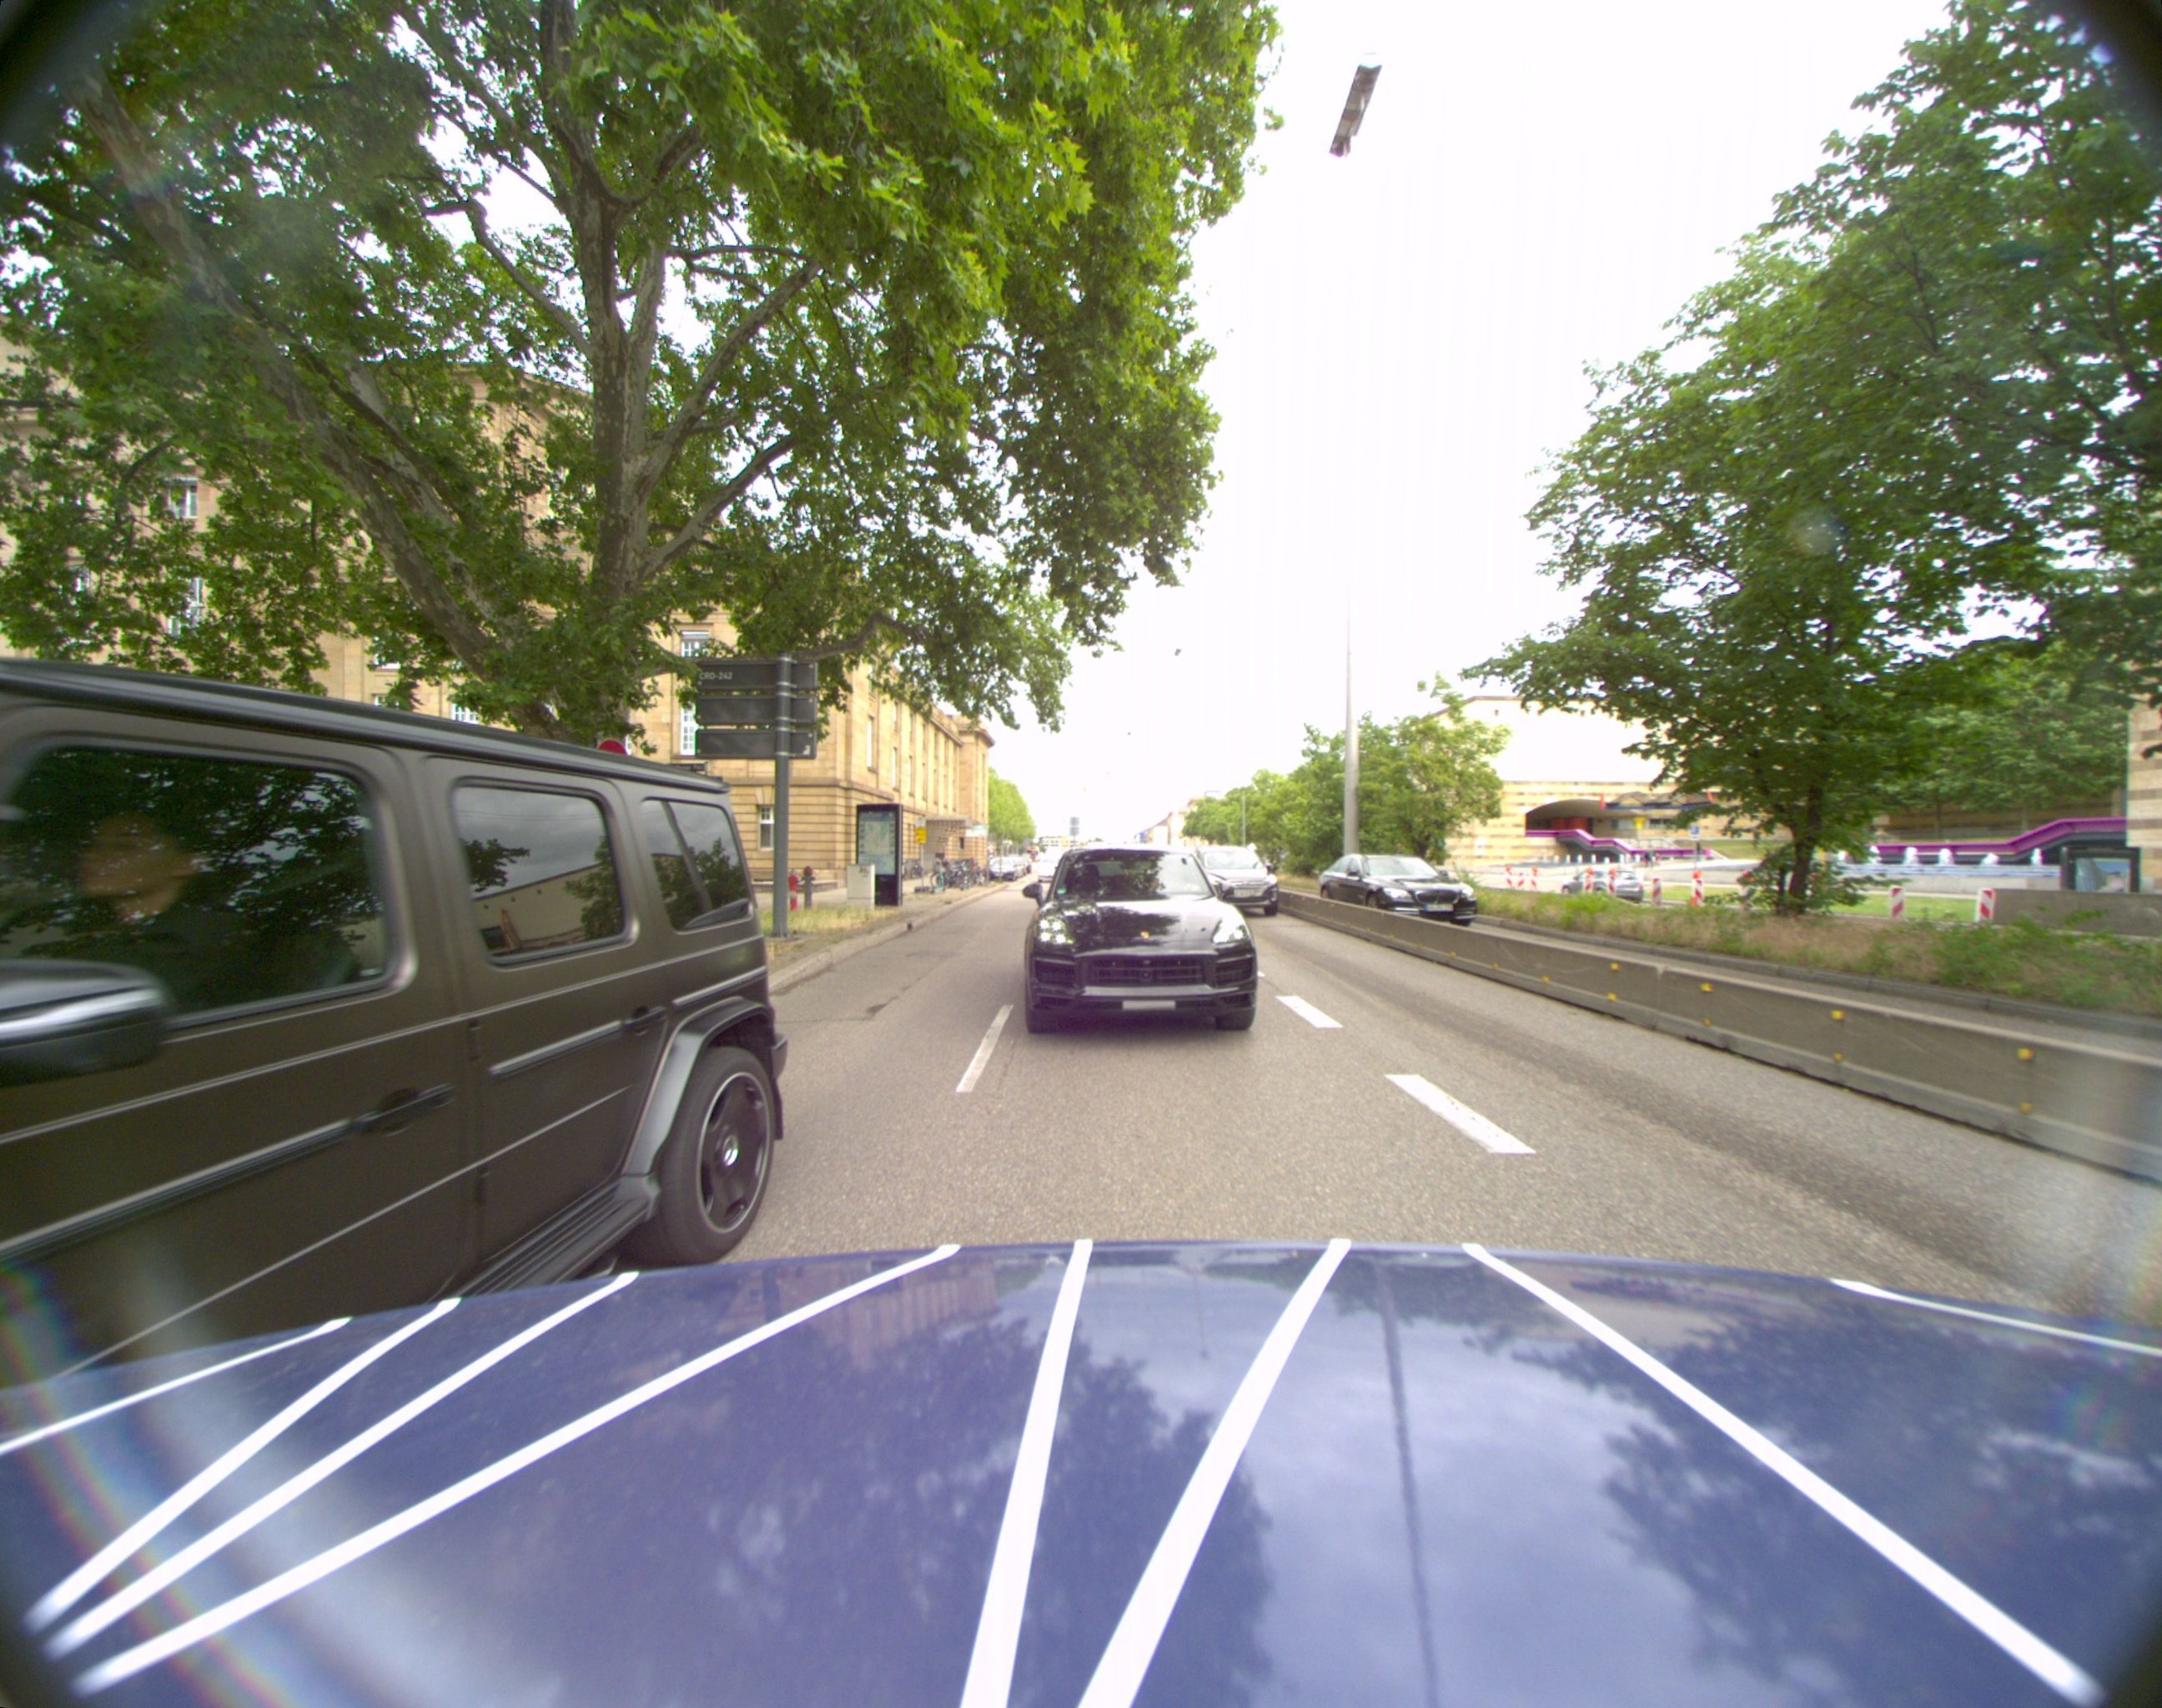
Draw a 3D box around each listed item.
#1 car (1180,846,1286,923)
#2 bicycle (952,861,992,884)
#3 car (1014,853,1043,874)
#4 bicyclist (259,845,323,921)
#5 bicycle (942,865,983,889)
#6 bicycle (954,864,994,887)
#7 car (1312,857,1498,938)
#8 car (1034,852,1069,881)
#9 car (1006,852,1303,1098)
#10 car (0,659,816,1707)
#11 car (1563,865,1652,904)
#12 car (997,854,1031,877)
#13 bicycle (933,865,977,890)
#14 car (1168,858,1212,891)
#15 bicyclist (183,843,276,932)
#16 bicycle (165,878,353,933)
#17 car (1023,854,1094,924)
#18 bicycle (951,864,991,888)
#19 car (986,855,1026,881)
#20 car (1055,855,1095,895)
[{"bbox_3d":[3.713,0.700,19.381,1.898,1.705,4.659,-1,0,2],"label":"car"},{"bbox_3d":[-5.463,0.941,38.081,1.939,1.126,0.540,0,0,-18],"label":"bicycle"},{"bbox_3d":[-4.339,0.766,63.580,1.867,1.585,4.000,0,1,4],"label":"car"},{"bbox_3d":[-21.703,0.769,20.905,0.879,2.002,0.842,-3,1,-24],"label":"bicyclist"},{"bbox_3d":[-5.394,1.048,34.705,1.841,1.066,0.619,0,0,-6],"label":"bicycle"},{"bbox_3d":[-5.156,1.017,36.555,1.842,1.066,0.531,0,0,-18],"label":"bicycle"},{"bbox_3d":[6.692,0.814,16.386,1.998,1.474,4.809,0,0,1],"label":"car"},{"bbox_3d":[-1.756,0.744,46.492,1.695,1.585,4.000,2,1,4],"label":"car"},{"bbox_3d":[0.477,0.856,7.723,2.061,1.616,4.600,-3,1,-1],"label":"car"},{"bbox_3d":[-2.381,0.714,1.477,1.982,1.882,4.706,-2,1,0],"label":"car"},{"bbox_3d":[23.609,1.330,34.206,1.582,1.600,3.579,0,0,2],"label":"car"},{"bbox_3d":[-4.882,0.802,55.960,1.867,1.585,4.000,0,1,4],"label":"car"},{"bbox_3d":[-5.632,1.026,33.992,1.918,1.092,0.541,0,0,-6],"label":"bicycle"},{"bbox_3d":[5.594,1.009,39.524,1.767,1.507,4.152,-1,1,1],"label":"car"},{"bbox_3d":[-20.004,0.760,17.888,1.013,2.002,1.102,-1,0,-16],"label":"bicyclist"},{"bbox_3d":[-19.286,1.185,17.939,2.846,1.178,1.096,0,1,-15],"label":"bicycle"},{"bbox_3d":[-0.495,0.815,19.432,1.582,1.600,3.579,0,0,2],"label":"car"},{"bbox_3d":[-5.152,1.028,35.612,1.841,1.066,0.532,0,0,-7],"label":"bicycle"},{"bbox_3d":[-4.667,0.848,47.760,1.843,1.522,4.000,0,1,4],"label":"car"},{"bbox_3d":[-0.209,0.837,32.222,1.582,1.600,3.579,0,0,2],"label":"car"}]
